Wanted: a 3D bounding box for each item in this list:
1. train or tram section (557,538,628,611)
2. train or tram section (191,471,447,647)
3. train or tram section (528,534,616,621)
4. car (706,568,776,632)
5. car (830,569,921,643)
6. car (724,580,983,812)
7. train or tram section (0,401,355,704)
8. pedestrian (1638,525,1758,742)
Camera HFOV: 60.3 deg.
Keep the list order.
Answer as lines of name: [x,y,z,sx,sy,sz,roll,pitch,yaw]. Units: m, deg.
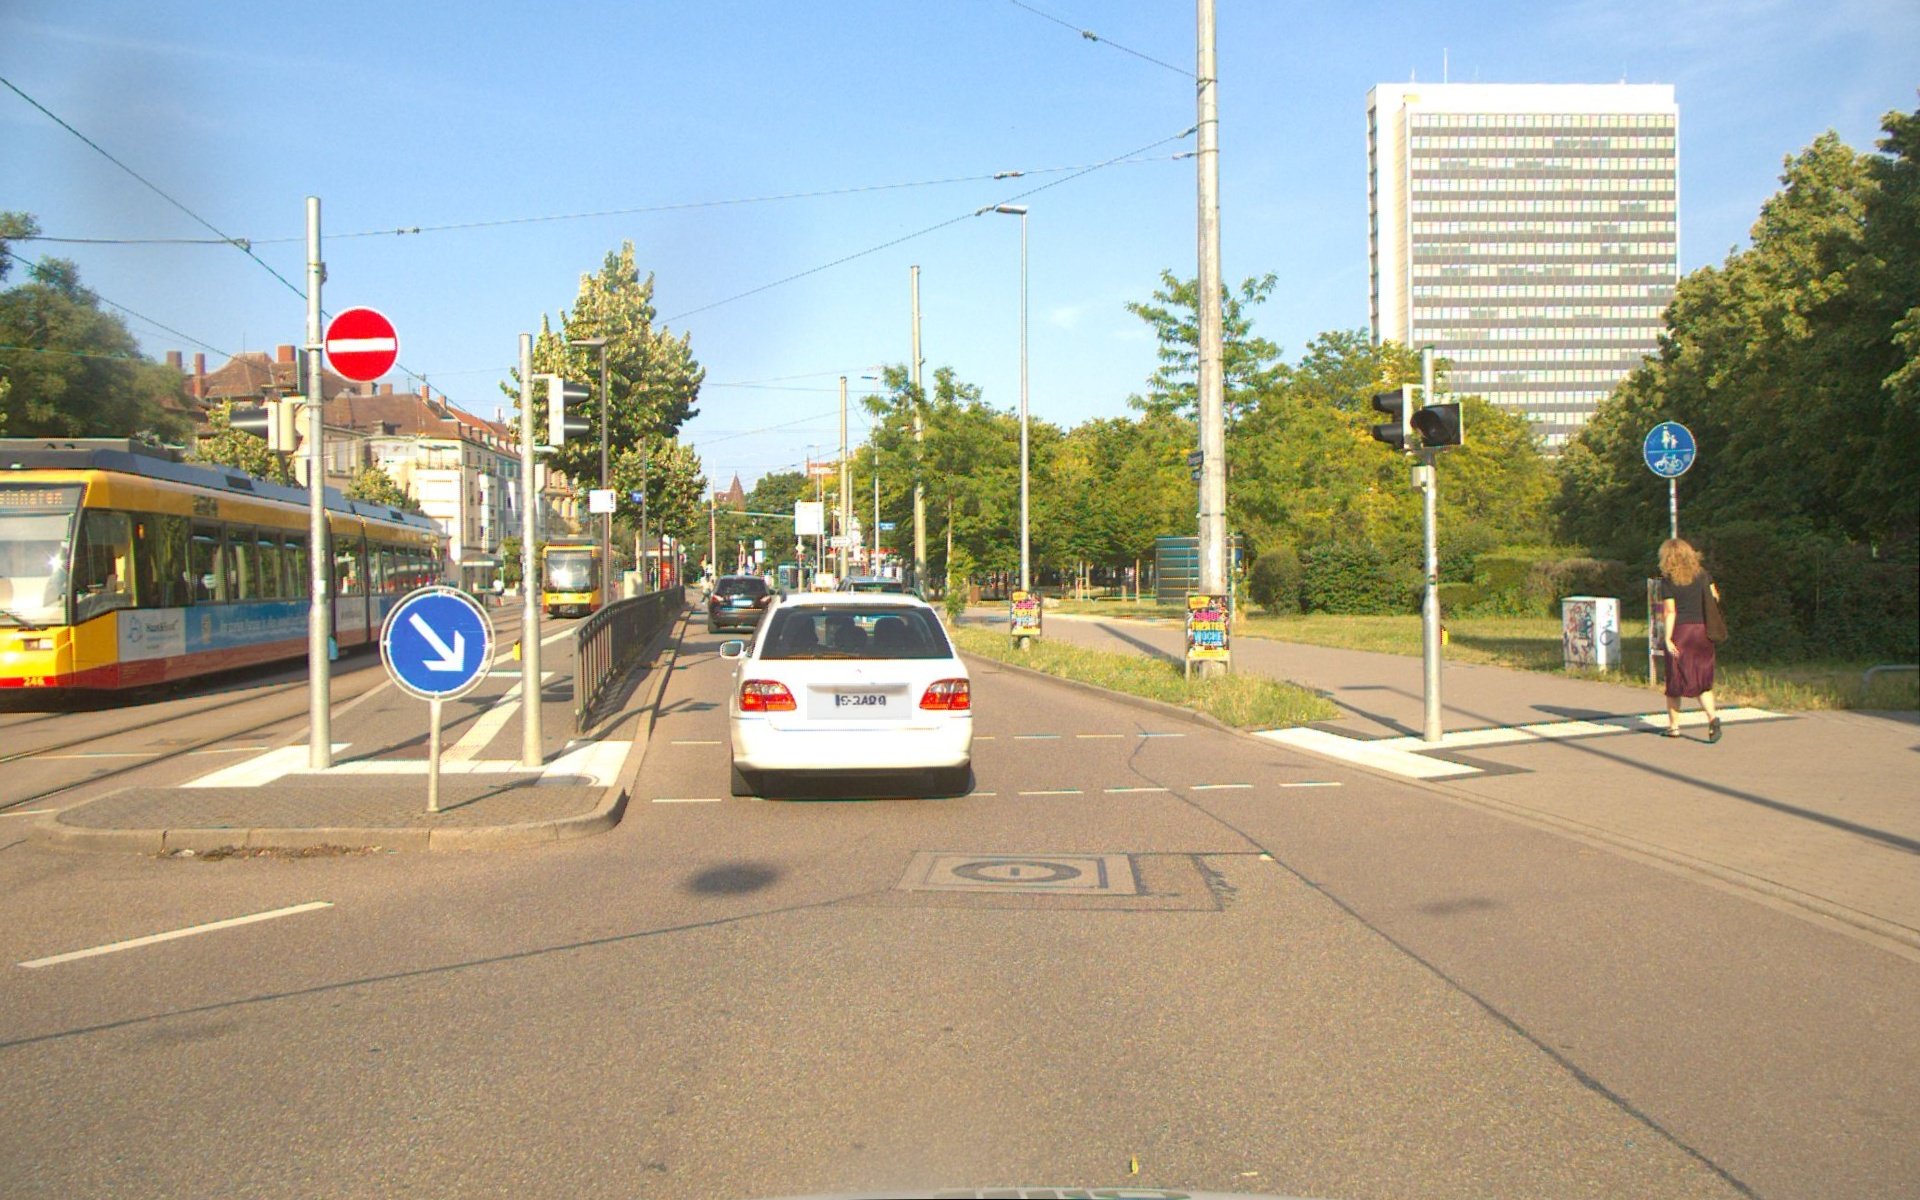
train or tram section: [-19.226,-1.351,87.228,2.797,3.540,13.173,0,1,-9]
train or tram section: [-15.169,-0.949,40.621,3.104,3.540,14.438,0,1,-10]
train or tram section: [-17.273,-1.057,74.362,2.797,3.540,13.174,1,1,-9]
car: [-6.074,-0.039,46.217,1.752,1.719,3.996,0,1,-5]
car: [-2.034,0.094,38.705,1.993,1.633,3.996,0,1,-5]
car: [-0.861,0.648,13.029,1.724,1.530,3.996,0,0,-5]
train or tram section: [-12.647,-0.685,26.430,3.104,3.540,14.498,0,1,-10]
pedestrian: [6.155,0.267,13.809,0.603,1.721,0.548,-5,1,-5]
